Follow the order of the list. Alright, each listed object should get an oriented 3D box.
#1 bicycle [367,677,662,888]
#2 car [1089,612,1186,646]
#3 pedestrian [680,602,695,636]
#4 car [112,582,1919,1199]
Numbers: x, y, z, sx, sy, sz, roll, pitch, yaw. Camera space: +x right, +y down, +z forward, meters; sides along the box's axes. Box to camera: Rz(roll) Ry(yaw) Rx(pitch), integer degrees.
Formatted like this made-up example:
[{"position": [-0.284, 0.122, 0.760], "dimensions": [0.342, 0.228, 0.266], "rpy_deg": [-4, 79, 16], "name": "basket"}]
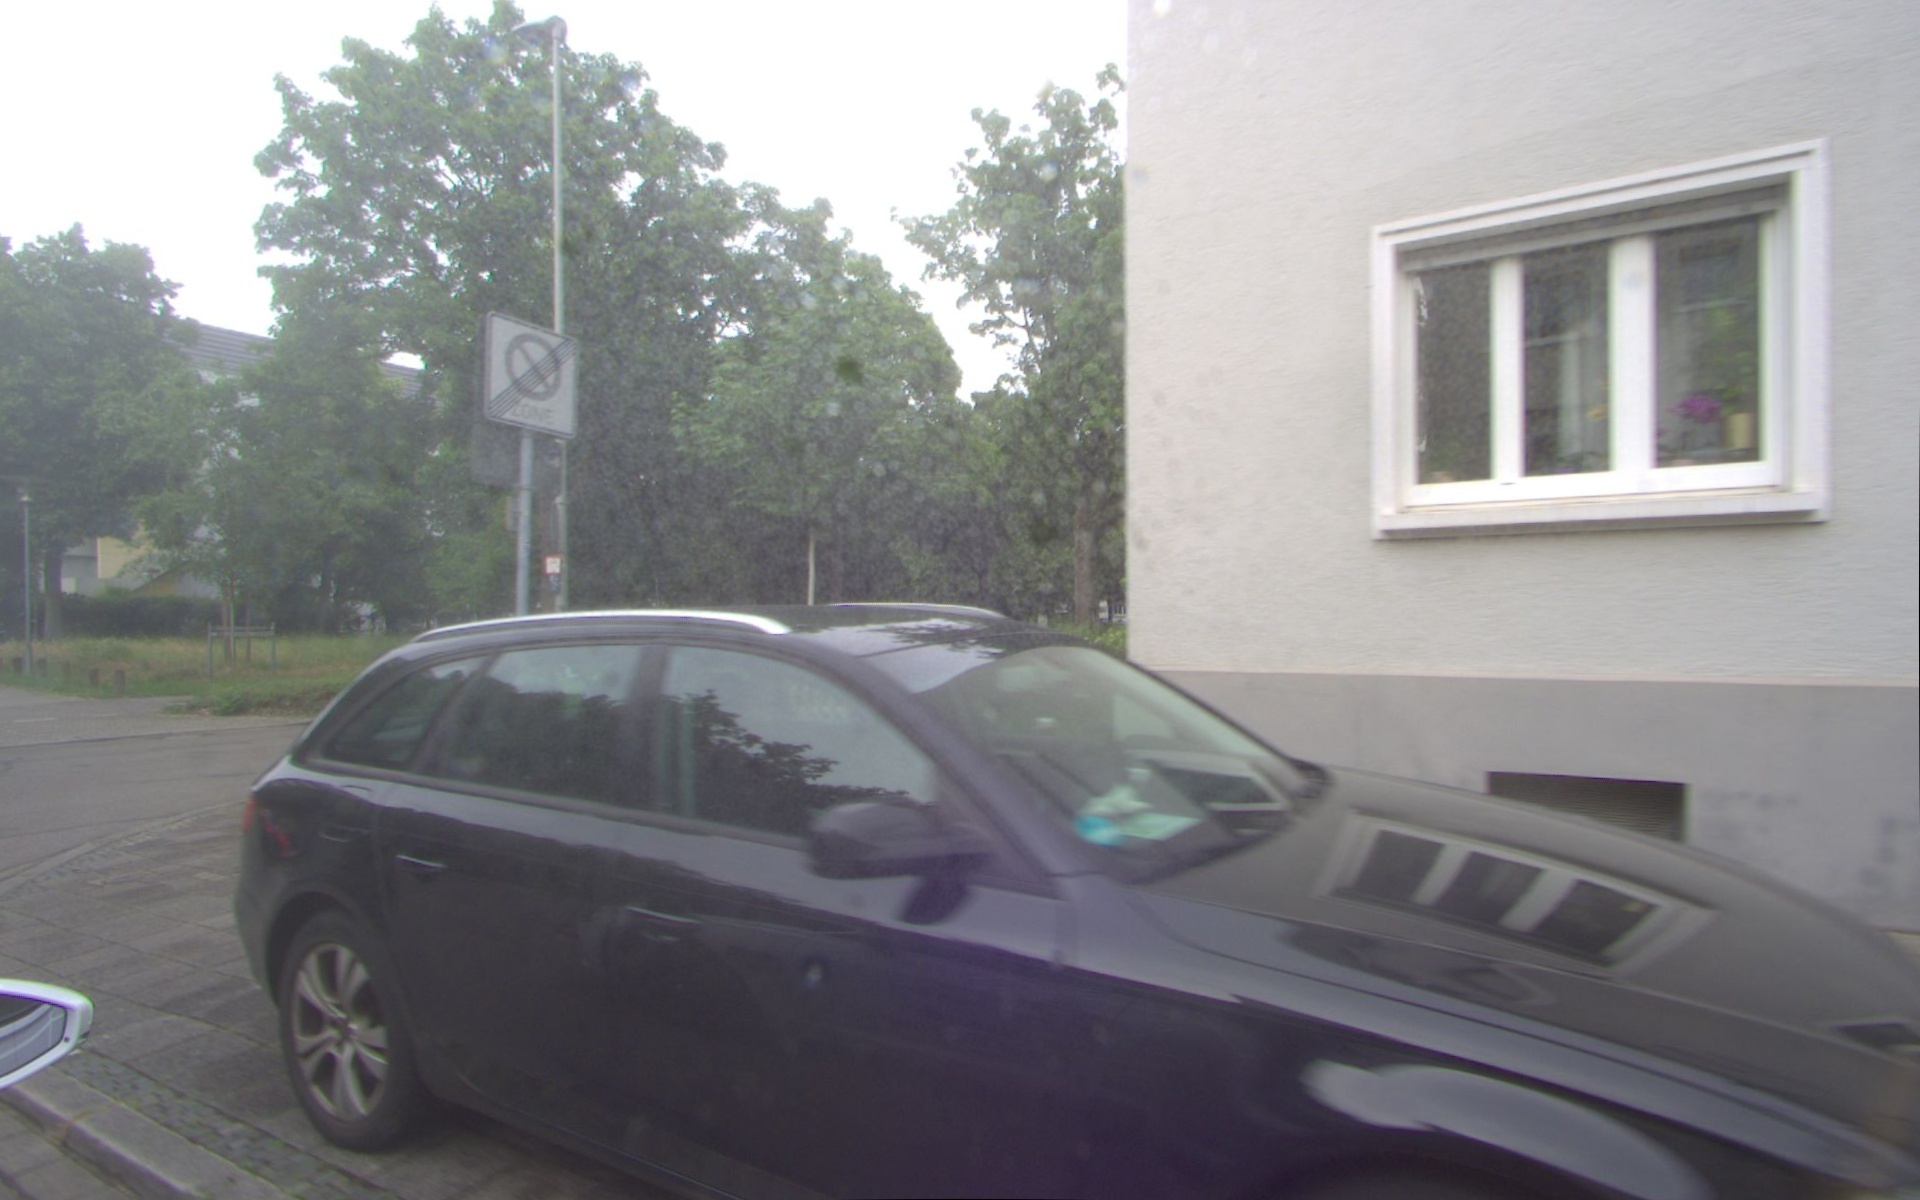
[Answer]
[{"position": [-2.602, 0.980, 5.773], "dimensions": [1.862, 1.017, 0.566], "rpy_deg": [-3, 0, 32], "name": "bicycle"}, {"position": [9.028, 1.449, 51.111], "dimensions": [4.455, 1.506, 1.998], "rpy_deg": [-2, 0, -11], "name": "car"}, {"position": [-14.469, 1.001, 53.232], "dimensions": [0.537, 1.822, 0.568], "rpy_deg": [1, 0, 42], "name": "pedestrian"}, {"position": [-0.100, 0.741, 2.690], "dimensions": [4.655, 1.482, 1.858], "rpy_deg": [-1, 0, 30], "name": "car"}]
